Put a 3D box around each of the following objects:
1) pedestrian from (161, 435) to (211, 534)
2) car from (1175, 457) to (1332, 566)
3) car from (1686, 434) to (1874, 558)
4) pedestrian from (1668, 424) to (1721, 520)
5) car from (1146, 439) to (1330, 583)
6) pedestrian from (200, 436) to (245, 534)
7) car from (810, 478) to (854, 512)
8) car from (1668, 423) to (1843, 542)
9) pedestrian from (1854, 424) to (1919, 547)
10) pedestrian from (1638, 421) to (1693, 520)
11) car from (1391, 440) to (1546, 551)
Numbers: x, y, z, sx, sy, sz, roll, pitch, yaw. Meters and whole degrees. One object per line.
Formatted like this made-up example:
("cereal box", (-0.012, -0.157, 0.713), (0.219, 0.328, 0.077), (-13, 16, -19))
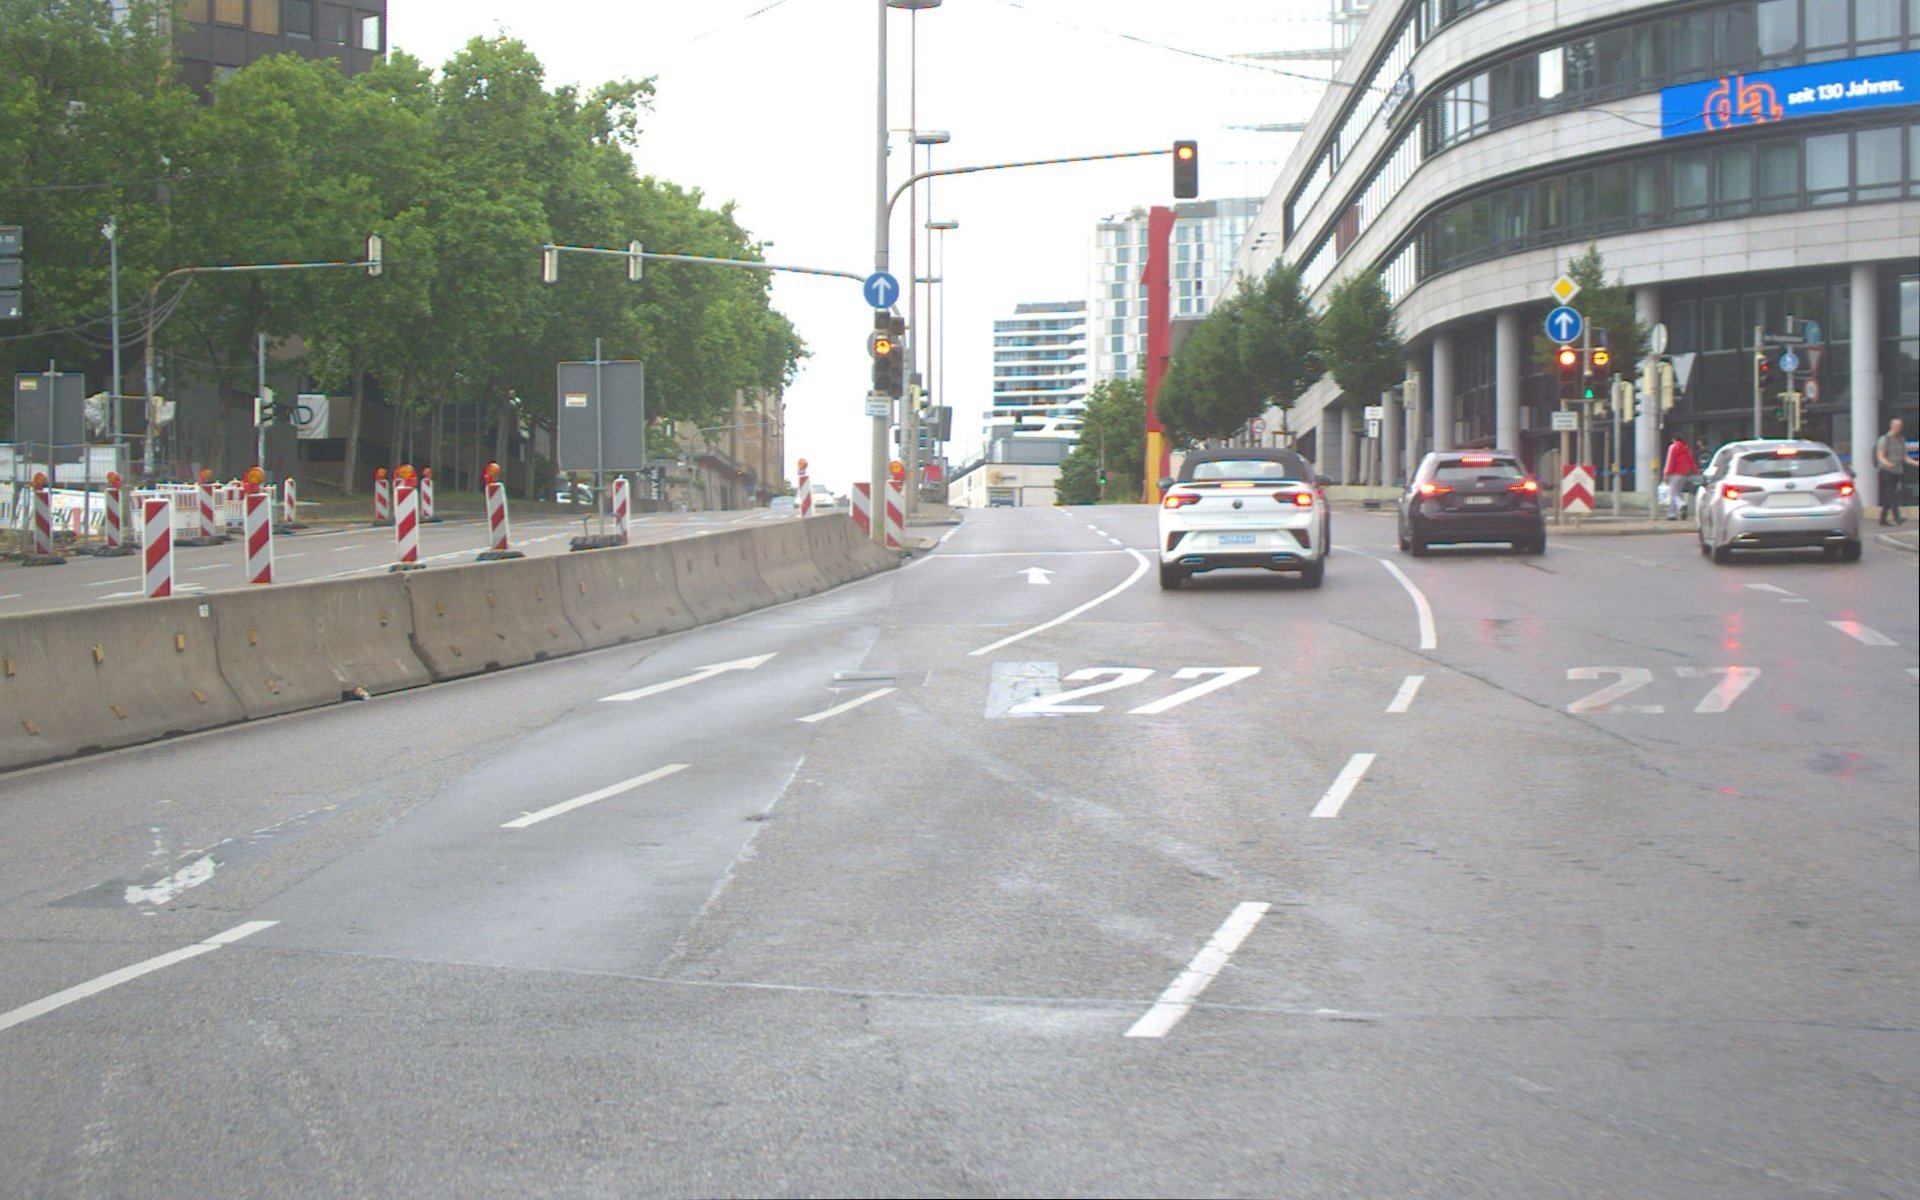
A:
("pedestrian", (-15.197, -2.261, 67.511), (0.761, 1.916, 0.742), (0, 0, 4))
("car", (4.007, -1.241, 47.488), (1.739, 1.438, 4.001), (0, 2, -1))
("car", (10.113, -1.278, 42.659), (1.701, 1.446, 4.615), (1, 1, 6))
("pedestrian", (14.555, -2.531, 68.114), (0.842, 1.898, 0.731), (0, 1, 27))
("car", (3.200, -1.040, 38.954), (1.964, 1.543, 4.218), (0, 2, 6))
("pedestrian", (-14.464, -2.245, 67.434), (0.672, 1.895, 0.775), (0, 0, 4))
("car", (-5.953, -4.910, 160.267), (1.761, 1.455, 4.360), (-1, 2, 1))
("car", (11.462, -1.701, 49.345), (1.773, 1.628, 4.576), (1, 2, 22))
("pedestrian", (16.046, -1.972, 59.103), (0.852, 2.091, 0.905), (1, 2, -22))
("pedestrian", (13.818, -2.525, 67.311), (0.842, 1.898, 0.860), (0, 0, 27))
("car", (6.870, -1.401, 46.785), (1.755, 1.402, 4.227), (2, 1, 4))
